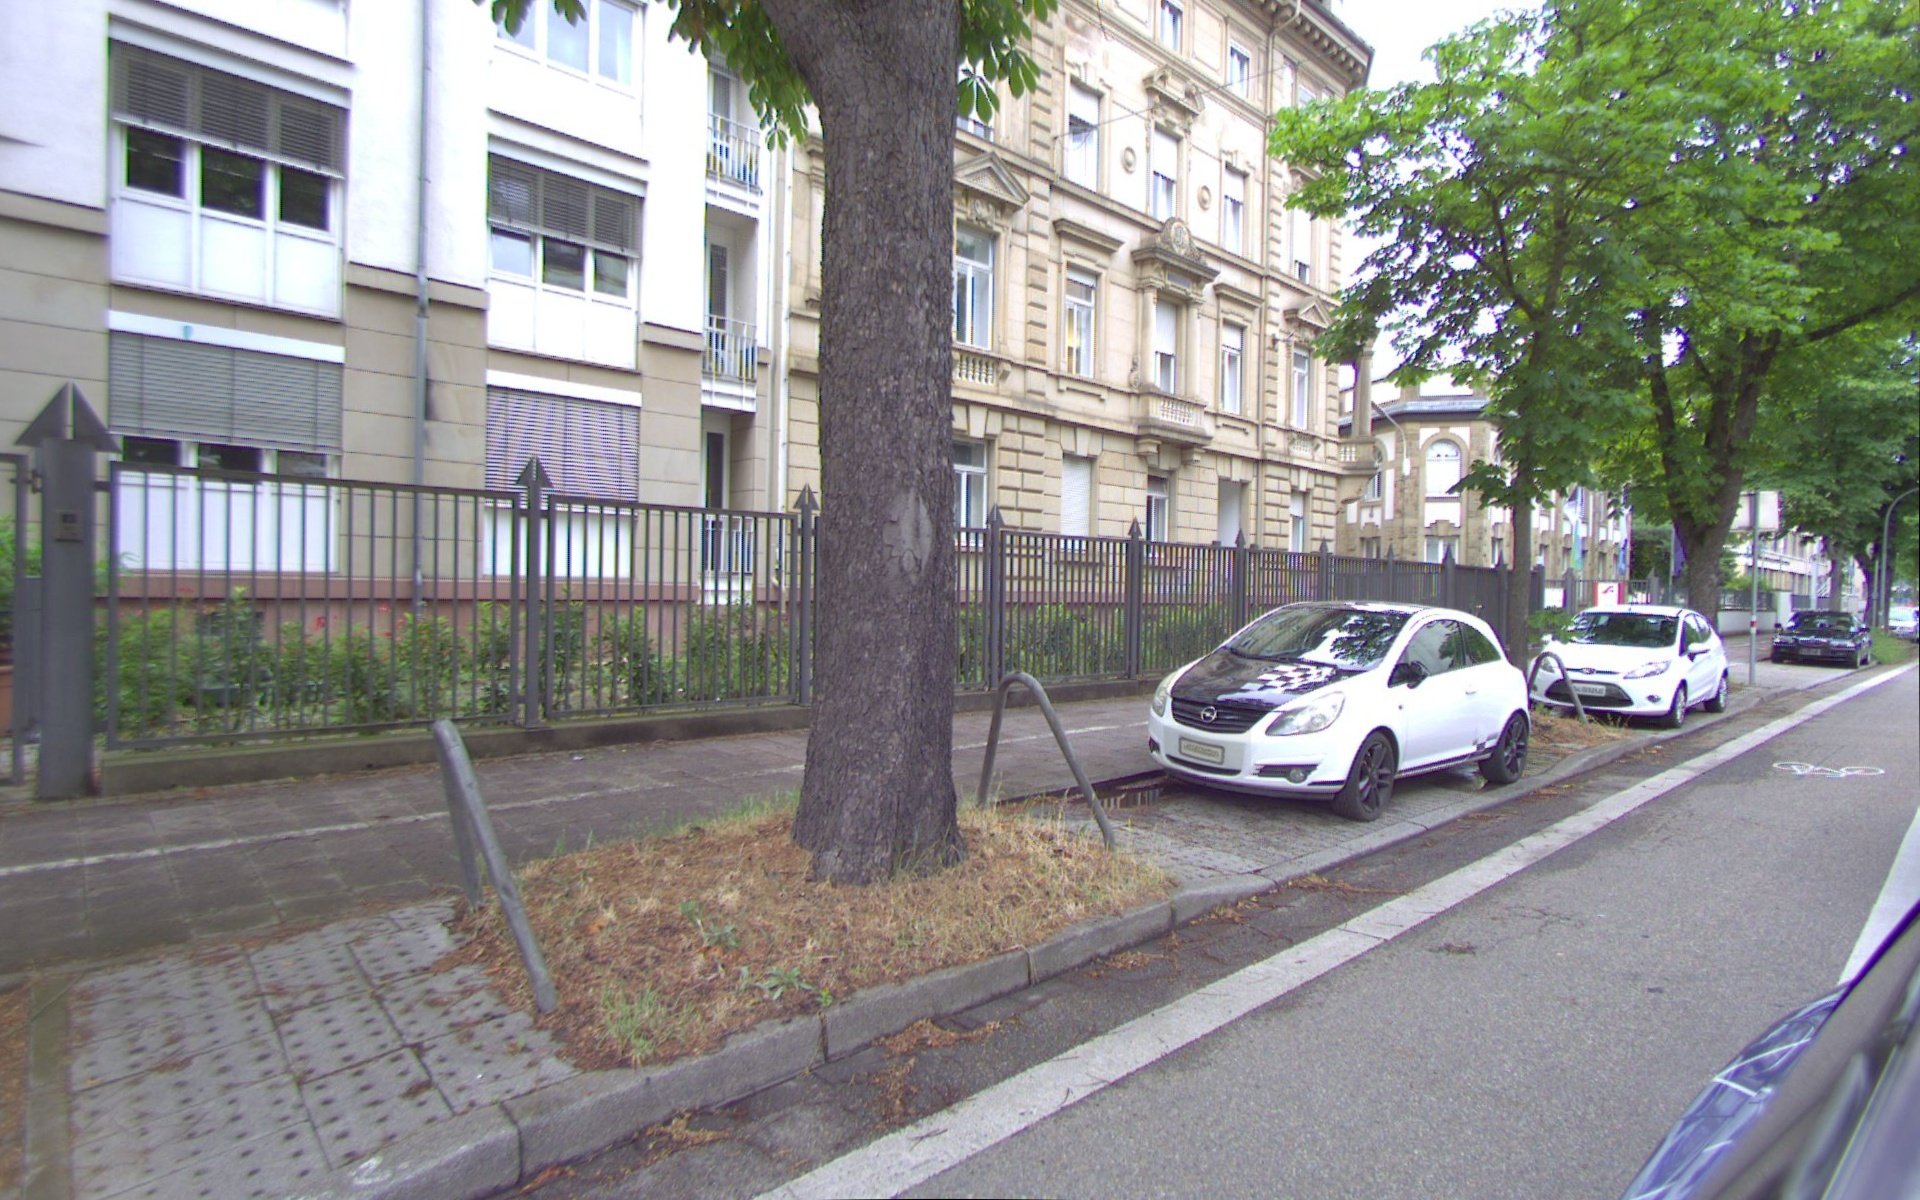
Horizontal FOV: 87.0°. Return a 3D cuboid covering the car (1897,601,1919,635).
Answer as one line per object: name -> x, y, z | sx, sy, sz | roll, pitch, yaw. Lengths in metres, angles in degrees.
car -> 43.919, 0.836, 45.972 | 3.771, 1.442, 1.605 | 0, 3, -43

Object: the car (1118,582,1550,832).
car -> 3.091, 0.650, 8.014 | 3.711, 1.453, 1.605 | 0, 3, -42

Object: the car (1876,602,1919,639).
car -> 38.562, 0.809, 41.135 | 3.771, 1.387, 1.605 | 0, 3, -43

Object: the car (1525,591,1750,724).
car -> 9.147, 0.660, 13.563 | 3.700, 1.453, 1.630 | 0, 3, -43

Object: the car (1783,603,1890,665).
car -> 22.520, 0.810, 25.966 | 3.771, 1.387, 1.605 | 0, 3, -43

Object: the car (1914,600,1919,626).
car -> 52.692, 0.731, 54.491 | 3.771, 1.387, 1.605 | 0, 3, -43
